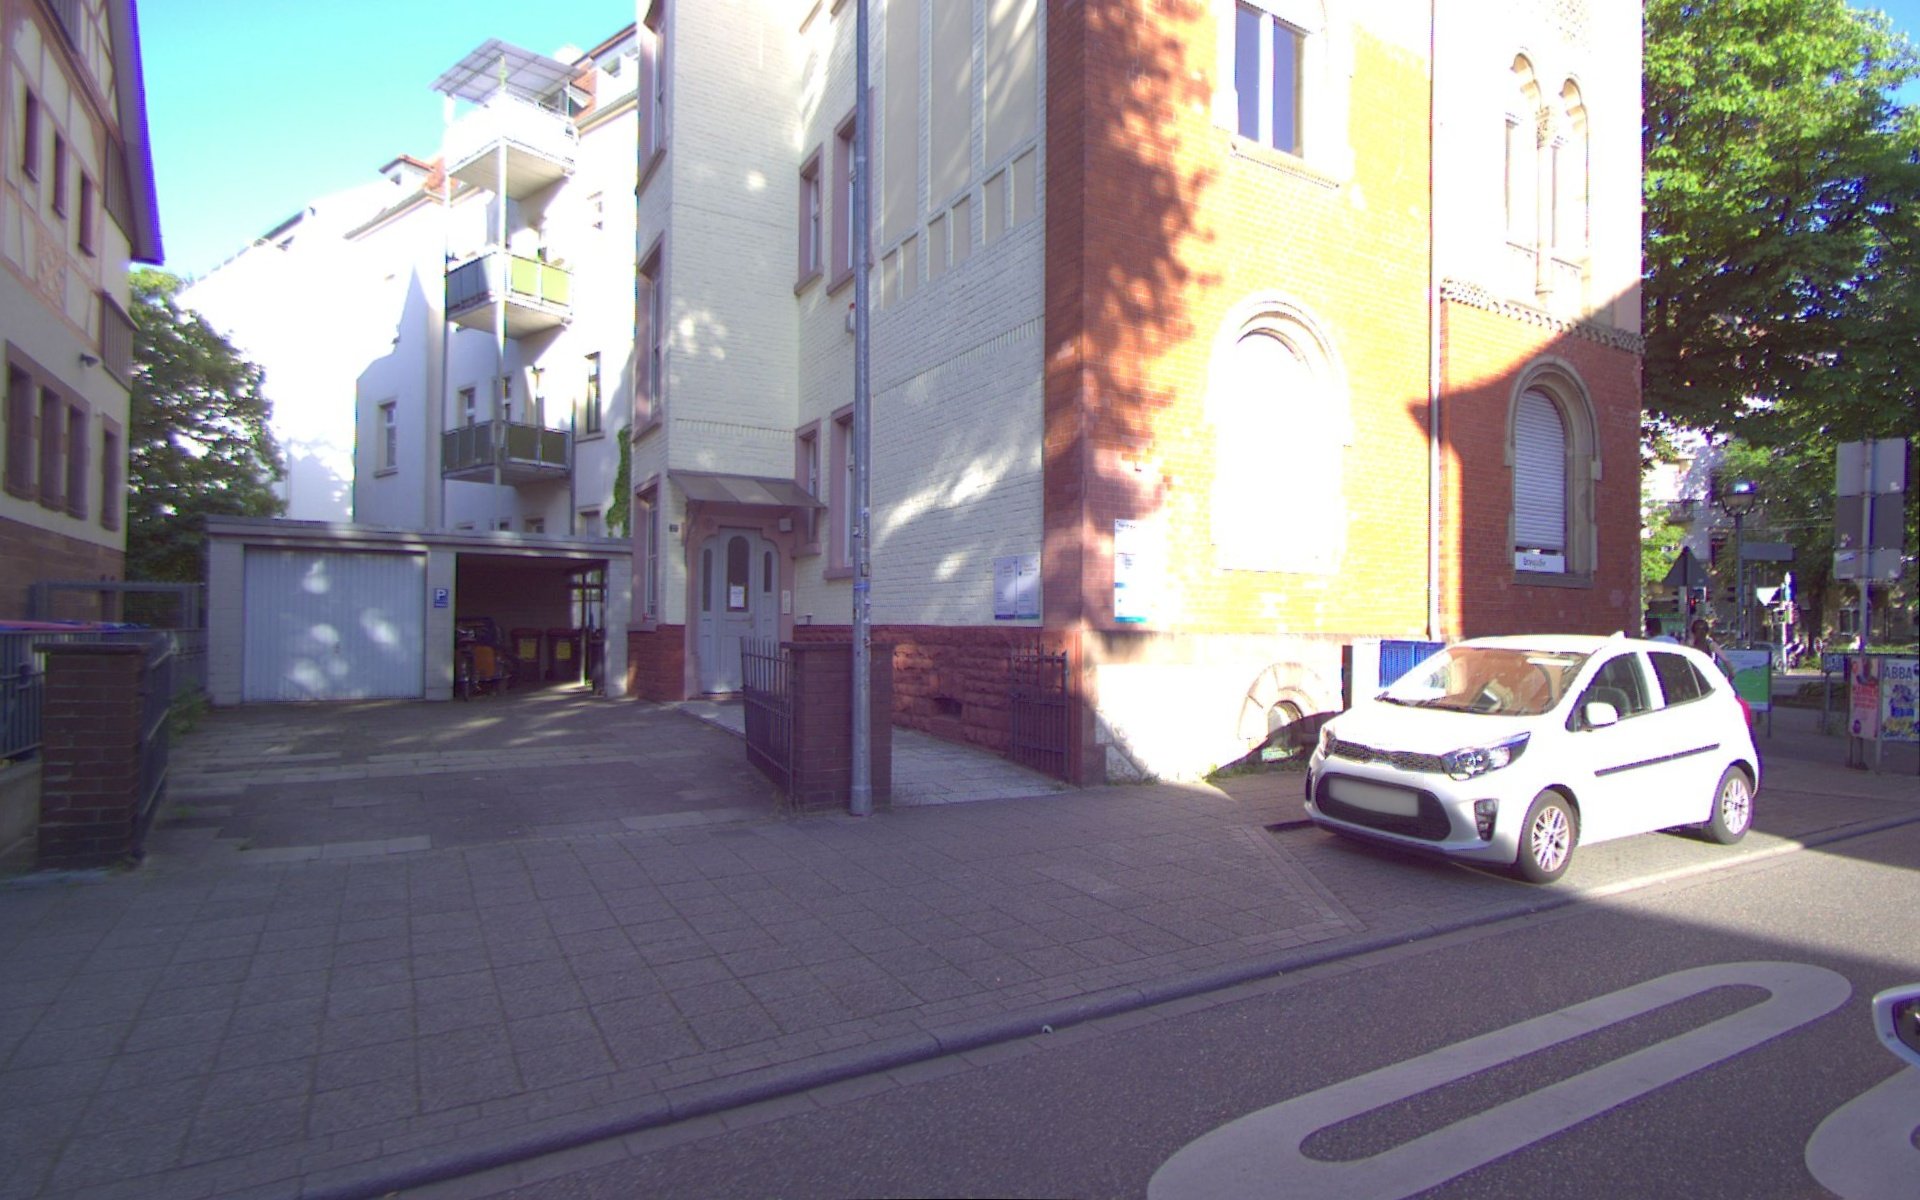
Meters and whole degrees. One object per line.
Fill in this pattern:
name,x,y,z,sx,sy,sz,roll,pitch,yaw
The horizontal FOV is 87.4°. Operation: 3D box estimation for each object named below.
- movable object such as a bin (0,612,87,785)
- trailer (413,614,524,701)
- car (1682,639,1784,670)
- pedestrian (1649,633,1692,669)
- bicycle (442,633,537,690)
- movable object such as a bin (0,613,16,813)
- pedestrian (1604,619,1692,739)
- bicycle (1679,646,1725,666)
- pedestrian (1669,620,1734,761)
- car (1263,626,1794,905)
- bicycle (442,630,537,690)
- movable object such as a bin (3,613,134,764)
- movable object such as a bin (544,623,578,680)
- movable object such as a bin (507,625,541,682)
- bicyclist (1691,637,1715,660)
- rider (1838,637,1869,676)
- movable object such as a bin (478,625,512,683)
movable object such as a bin,-7.803,0.774,8.352,0.680,1.335,1.370,2,-1,-37
trailer,-7.548,0.884,15.562,0.757,1.234,2.410,0,-3,-7
car,37.792,2.666,49.174,3.635,1.458,1.900,1,-2,-4
pedestrian,39.421,2.835,55.772,1.466,1.937,1.259,1,-2,-6
bicycle,-8.665,1.134,18.517,1.455,1.004,0.543,1,-4,0
movable object such as a bin,-6.562,0.726,5.917,0.954,1.316,1.374,1,-1,-20
pedestrian,9.965,1.120,14.554,0.854,1.665,0.859,2,-2,-41
bicycle,35.125,2.646,47.571,1.708,0.958,0.654,1,-2,-3
pedestrian,8.977,1.067,12.156,0.592,1.626,0.851,-1,-2,38
car,4.204,0.997,7.329,3.752,1.505,1.697,2,0,-30
bicycle,-8.361,1.069,17.894,1.345,1.031,0.674,1,-4,0
movable object such as a bin,-8.382,0.791,9.492,0.623,1.327,1.196,1,-1,-28
movable object such as a bin,-8.199,1.046,20.646,0.531,1.139,0.773,1,-2,-31
movable object such as a bin,-8.850,1.075,20.392,0.531,1.139,0.773,1,-2,-31
bicyclist,35.191,2.305,47.575,0.664,1.068,0.612,0,-2,-3
rider,40.717,2.570,45.762,0.660,1.704,0.818,1,0,-20
movable object such as a bin,-9.265,1.063,19.997,0.531,1.139,0.773,1,-2,-31
